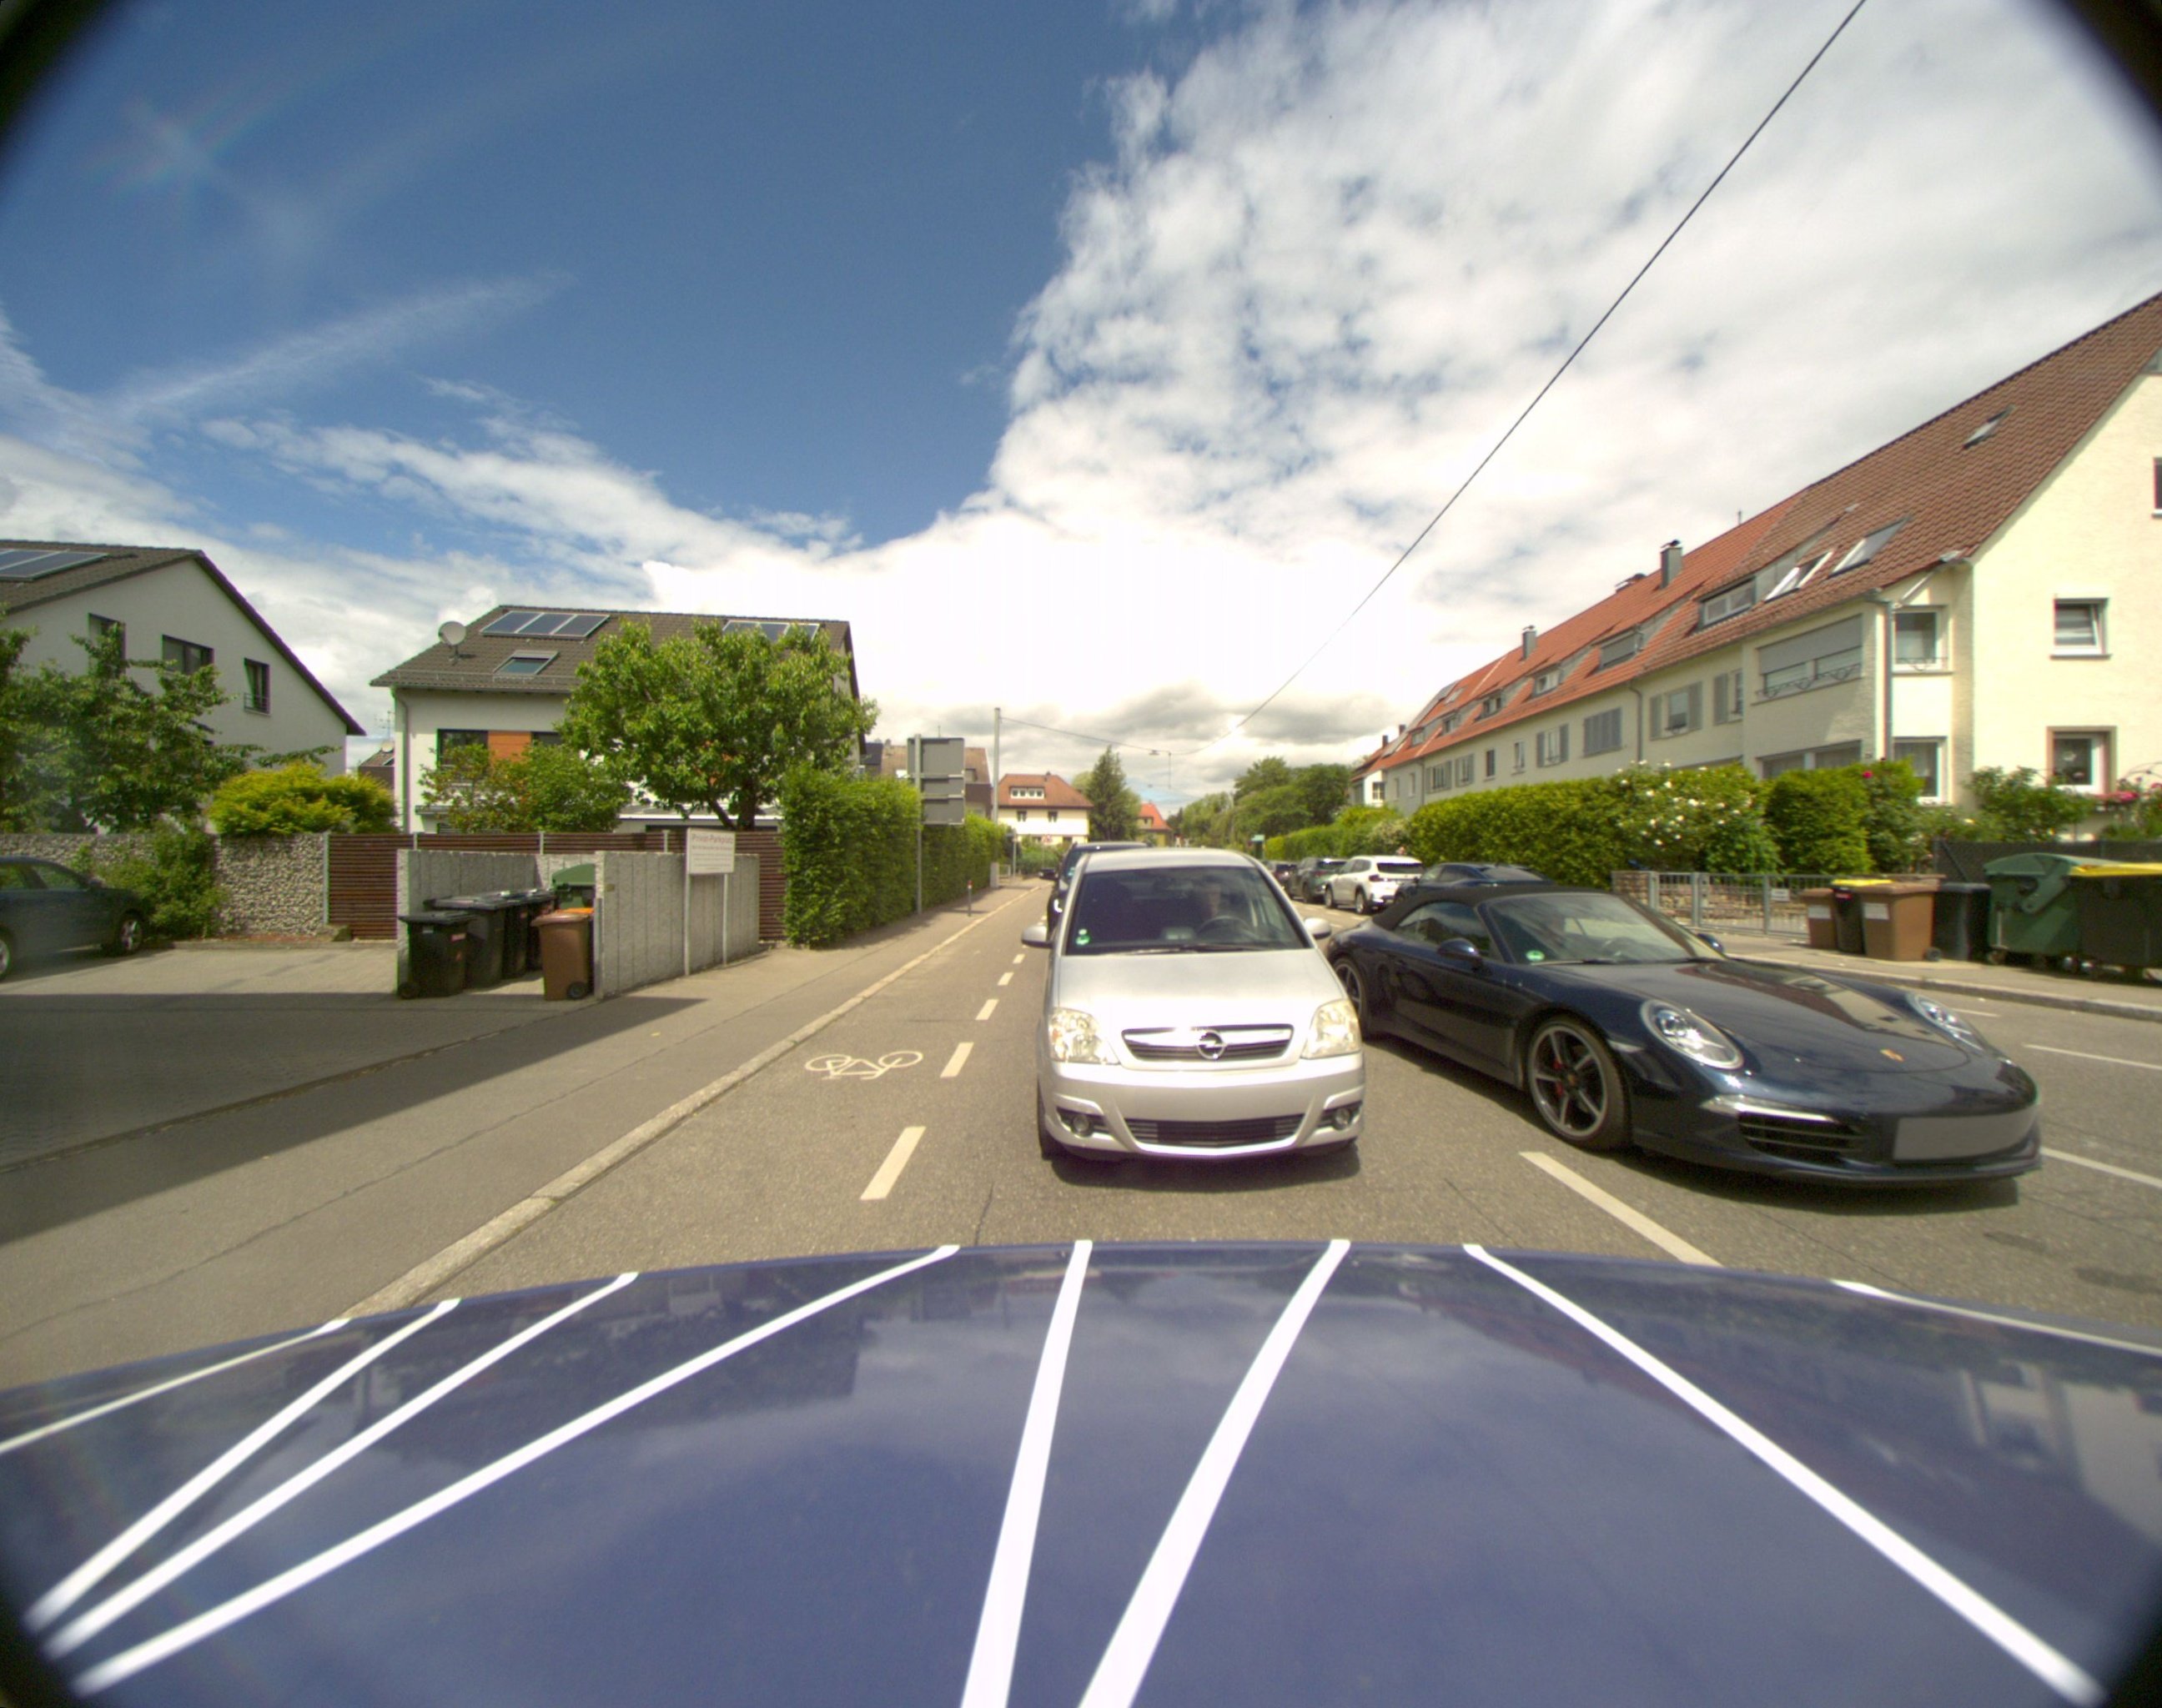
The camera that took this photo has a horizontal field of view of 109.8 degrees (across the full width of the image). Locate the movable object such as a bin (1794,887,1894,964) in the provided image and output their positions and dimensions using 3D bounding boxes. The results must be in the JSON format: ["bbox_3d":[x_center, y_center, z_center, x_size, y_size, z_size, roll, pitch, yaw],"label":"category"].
[{"bbox_3d":[11.171,1.035,11.149,0.763,1.059,0.693,-1,1,7],"label":"movable object such as a bin"}]

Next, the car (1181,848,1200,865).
[{"bbox_3d":[12.786,0.328,88.639,1.997,1.903,4.072,-1,0,11],"label":"car"}]

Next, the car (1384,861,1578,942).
[{"bbox_3d":[8.603,0.930,16.866,1.819,1.492,4.452,-1,0,-2],"label":"car"}]

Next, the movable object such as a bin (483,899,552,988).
[{"bbox_3d":[-7.294,1.146,9.854,0.596,1.069,0.488,-1,1,-24],"label":"movable object such as a bin"}]

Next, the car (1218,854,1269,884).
[{"bbox_3d":[9.223,0.810,43.506,1.998,1.623,4.236,-1,0,0],"label":"car"}]

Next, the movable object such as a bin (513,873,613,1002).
[{"bbox_3d":[-6.079,0.964,8.950,0.809,1.446,0.479,-1,1,-4],"label":"movable object such as a bin"}]

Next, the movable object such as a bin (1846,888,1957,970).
[{"bbox_3d":[11.253,1.018,10.447,0.763,1.059,0.693,-1,1,7],"label":"movable object such as a bin"}]

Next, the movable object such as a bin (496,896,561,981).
[{"bbox_3d":[-7.507,1.135,10.339,0.596,1.069,0.488,-1,1,-24],"label":"movable object such as a bin"}]

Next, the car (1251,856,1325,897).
[{"bbox_3d":[8.757,0.891,32.478,1.998,1.623,4.236,0,0,0],"label":"car"}]

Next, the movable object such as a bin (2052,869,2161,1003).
[{"bbox_3d":[11.802,0.863,8.320,1.092,1.354,0.981,-1,0,0],"label":"movable object such as a bin"}]

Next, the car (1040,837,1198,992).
[{"bbox_3d":[0.401,0.728,11.819,1.887,1.838,5.219,-1,0,-1],"label":"car"}]

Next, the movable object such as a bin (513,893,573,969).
[{"bbox_3d":[-8.064,1.144,11.412,0.596,1.069,0.488,-1,1,-19],"label":"movable object such as a bin"}]

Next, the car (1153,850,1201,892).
[{"bbox_3d":[4.638,0.765,37.182,1.998,1.903,4.070,-1,0,2],"label":"car"}]

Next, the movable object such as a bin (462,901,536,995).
[{"bbox_3d":[-7.138,1.137,9.342,0.596,1.069,0.488,-1,1,-24],"label":"movable object such as a bin"}]

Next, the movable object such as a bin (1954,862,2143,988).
[{"bbox_3d":[11.895,0.840,9.392,1.092,1.438,0.981,-1,0,0],"label":"movable object such as a bin"}]

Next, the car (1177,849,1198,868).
[{"bbox_3d":[11.460,0.463,81.494,1.997,1.903,4.072,-1,0,11],"label":"car"}]

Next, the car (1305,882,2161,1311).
[{"bbox_3d":[3.165,0.946,4.846,1.816,1.356,4.041,-1,0,-8],"label":"car"}]

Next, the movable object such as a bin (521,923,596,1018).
[{"bbox_3d":[-5.521,1.215,8.053,0.519,0.916,0.478,-1,1,-18],"label":"movable object such as a bin"}]

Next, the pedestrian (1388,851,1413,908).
[{"bbox_3d":[10.200,0.802,24.246,0.533,1.805,0.511,-1,1,-4],"label":"pedestrian"}]

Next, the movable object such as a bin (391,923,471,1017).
[{"bbox_3d":[-7.041,1.240,8.250,0.519,0.916,0.478,-1,1,-24],"label":"movable object such as a bin"}]

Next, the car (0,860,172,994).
[{"bbox_3d":[-14.816,0.933,10.100,2.003,1.587,3.991,-1,1,-26],"label":"car"}]

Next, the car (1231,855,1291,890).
[{"bbox_3d":[8.980,0.863,38.204,1.998,1.623,4.236,-1,0,0],"label":"car"}]

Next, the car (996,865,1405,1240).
[{"bbox_3d":[0.544,0.906,5.348,1.774,1.566,4.001,-1,0,0],"label":"car"}]

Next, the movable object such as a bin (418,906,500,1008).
[{"bbox_3d":[-7.145,1.161,8.746,0.596,1.069,0.488,-1,1,-24],"label":"movable object such as a bin"}]

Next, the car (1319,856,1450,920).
[{"bbox_3d":[8.534,0.884,21.842,1.998,1.623,4.453,-1,0,0],"label":"car"}]

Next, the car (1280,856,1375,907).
[{"bbox_3d":[8.618,0.905,26.976,1.998,1.623,4.236,-1,0,0],"label":"car"}]

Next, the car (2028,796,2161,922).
[{"bbox_3d":[19.083,0.035,12.699,3.997,2.002,2.000,-1,0,0],"label":"car"}]

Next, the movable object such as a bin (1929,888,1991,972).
[{"bbox_3d":[11.928,1.010,10.307,0.657,1.059,0.522,-1,1,-39],"label":"movable object such as a bin"}]
